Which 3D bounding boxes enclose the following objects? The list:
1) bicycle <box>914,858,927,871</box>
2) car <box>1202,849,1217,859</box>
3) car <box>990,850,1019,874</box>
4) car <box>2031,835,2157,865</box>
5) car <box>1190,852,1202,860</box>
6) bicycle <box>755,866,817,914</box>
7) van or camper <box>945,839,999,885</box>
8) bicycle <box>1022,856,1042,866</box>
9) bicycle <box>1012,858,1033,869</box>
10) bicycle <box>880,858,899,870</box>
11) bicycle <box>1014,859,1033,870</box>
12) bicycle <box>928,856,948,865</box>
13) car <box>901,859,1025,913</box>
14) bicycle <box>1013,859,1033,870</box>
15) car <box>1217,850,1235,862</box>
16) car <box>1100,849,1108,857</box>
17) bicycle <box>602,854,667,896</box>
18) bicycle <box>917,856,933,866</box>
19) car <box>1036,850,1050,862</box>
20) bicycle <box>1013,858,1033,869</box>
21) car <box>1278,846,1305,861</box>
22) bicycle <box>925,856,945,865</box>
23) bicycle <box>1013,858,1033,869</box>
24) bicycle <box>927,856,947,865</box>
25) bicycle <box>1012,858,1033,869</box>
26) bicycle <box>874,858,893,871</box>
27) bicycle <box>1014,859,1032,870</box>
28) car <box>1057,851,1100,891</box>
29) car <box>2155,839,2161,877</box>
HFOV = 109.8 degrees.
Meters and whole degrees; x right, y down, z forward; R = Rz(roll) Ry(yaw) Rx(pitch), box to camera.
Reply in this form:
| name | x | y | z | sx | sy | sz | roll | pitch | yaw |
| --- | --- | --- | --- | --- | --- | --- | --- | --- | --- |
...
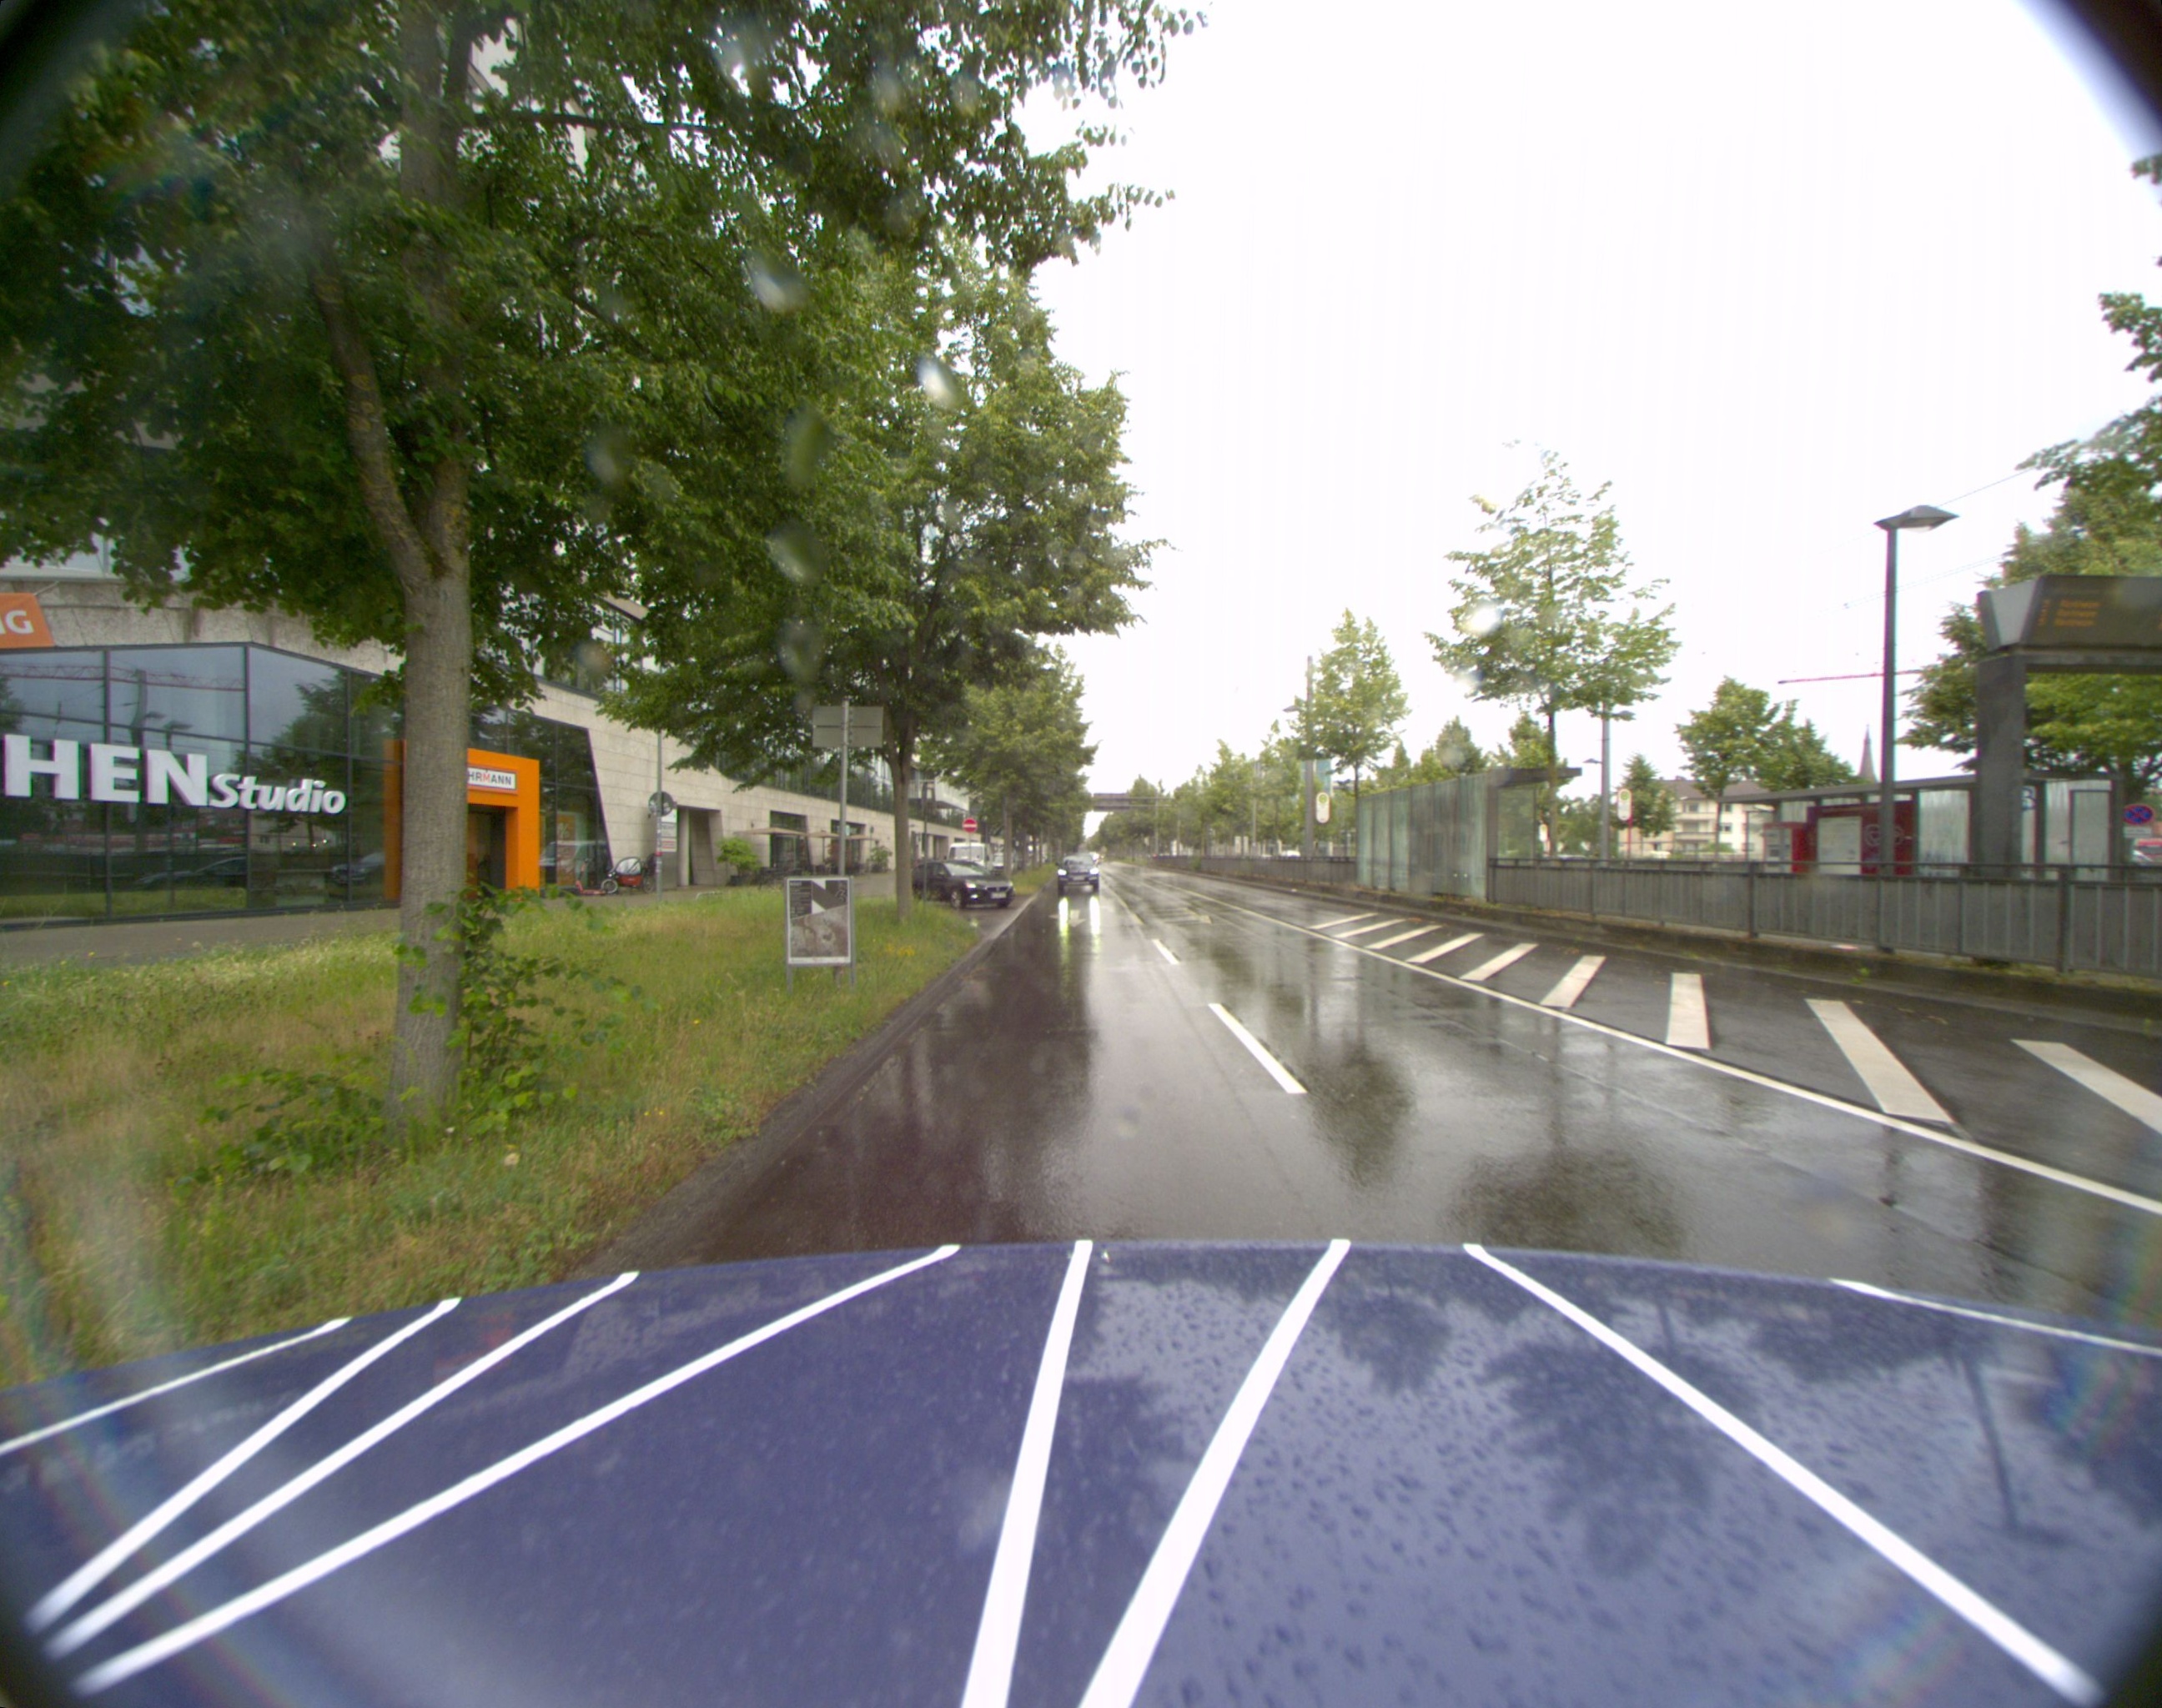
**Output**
| name | x | y | z | sx | sy | sz | roll | pitch | yaw |
| --- | --- | --- | --- | --- | --- | --- | --- | --- | --- |
| bicycle | -12.872 | 0.848 | 60.854 | 0.402 | 0.940 | 1.859 | -1 | 1 | 8 |
| car | 23.972 | -0.079 | 141.671 | 1.999 | 1.736 | 3.999 | -2 | 1 | -2 |
| car | -5.871 | 0.572 | 58.730 | 1.746 | 1.749 | 4.847 | -1 | 1 | 0 |
| car | 84.603 | -0.328 | 63.623 | 2.000 | 2.292 | 6.138 | -3 | 1 | -8 |
| car | 27.091 | 0.512 | 178.923 | 1.999 | 1.736 | 3.999 | -2 | 1 | -2 |
| bicycle | -8.503 | 1.026 | 21.879 | 1.843 | 1.338 | 0.533 | -1 | -1 | 26 |
| van or camper | -5.711 | 0.376 | 40.413 | 2.030 | 2.279 | 5.459 | -1 | 1 | 0 |
| bicycle | -5.179 | 0.735 | 80.187 | 2.040 | 0.940 | 0.519 | -2 | 1 | -4 |
| bicycle | -5.575 | 0.916 | 72.553 | 2.007 | 0.940 | 0.395 | -2 | 1 | -4 |
| bicycle | -14.730 | 0.777 | 58.517 | 0.396 | 0.940 | 2.024 | -4 | 2 | -44 |
| bicycle | -5.226 | 0.981 | 69.412 | 1.699 | 0.940 | 0.395 | -2 | 1 | -4 |
| bicycle | -15.422 | 0.669 | 82.067 | 2.029 | 0.940 | 0.395 | 1 | 1 | -4 |
| car | -3.692 | 0.888 | 23.166 | 1.836 | 1.412 | 4.334 | -1 | 1 | -38 |
| bicycle | -5.388 | 0.936 | 70.828 | 1.793 | 0.940 | 0.395 | -2 | 1 | -4 |
| car | 23.479 | 0.329 | 123.164 | 1.999 | 1.736 | 3.999 | -2 | 1 | -2 |
| car | 6.535 | -0.332 | 215.935 | 1.998 | 2.232 | 4.000 | -2 | 1 | 1 |
| bicycle | -15.379 | 0.699 | 26.232 | 0.734 | 1.394 | 2.425 | 1 | 0 | 1 |
| bicycle | -15.731 | 0.719 | 76.500 | 1.657 | 0.940 | 0.347 | 1 | 1 | 19 |
| car | -5.407 | 0.272 | 108.161 | 1.659 | 1.711 | 3.999 | -2 | 1 | 0 |
| bicycle | -5.516 | 0.922 | 72.063 | 1.882 | 0.940 | 0.395 | -2 | 1 | -4 |
| car | 25.956 | -0.127 | 93.719 | 1.999 | 1.736 | 3.999 | -2 | 1 | -2 |
| bicycle | -15.366 | 0.690 | 80.193 | 2.029 | 0.940 | 0.395 | 1 | 1 | -4 |
| bicycle | -5.463 | 0.929 | 71.504 | 1.862 | 0.940 | 0.395 | -2 | 1 | -4 |
| bicycle | -15.433 | 0.684 | 81.486 | 2.029 | 0.940 | 0.395 | 1 | 1 | -4 |
| bicycle | -5.614 | 0.914 | 72.990 | 2.040 | 0.940 | 0.395 | -2 | 1 | -4 |
| bicycle | -15.125 | 0.799 | 58.047 | 0.396 | 0.940 | 2.024 | -4 | 2 | -44 |
| bicycle | -5.331 | 0.954 | 70.233 | 1.649 | 0.940 | 0.395 | -2 | 1 | -4 |
| car | -0.063 | 0.729 | 34.915 | 1.816 | 1.603 | 4.000 | -2 | 1 | 1 |
| car | 70.199 | 0.248 | 45.516 | 1.999 | 2.448 | 6.744 | -2 | 1 | -4 |
